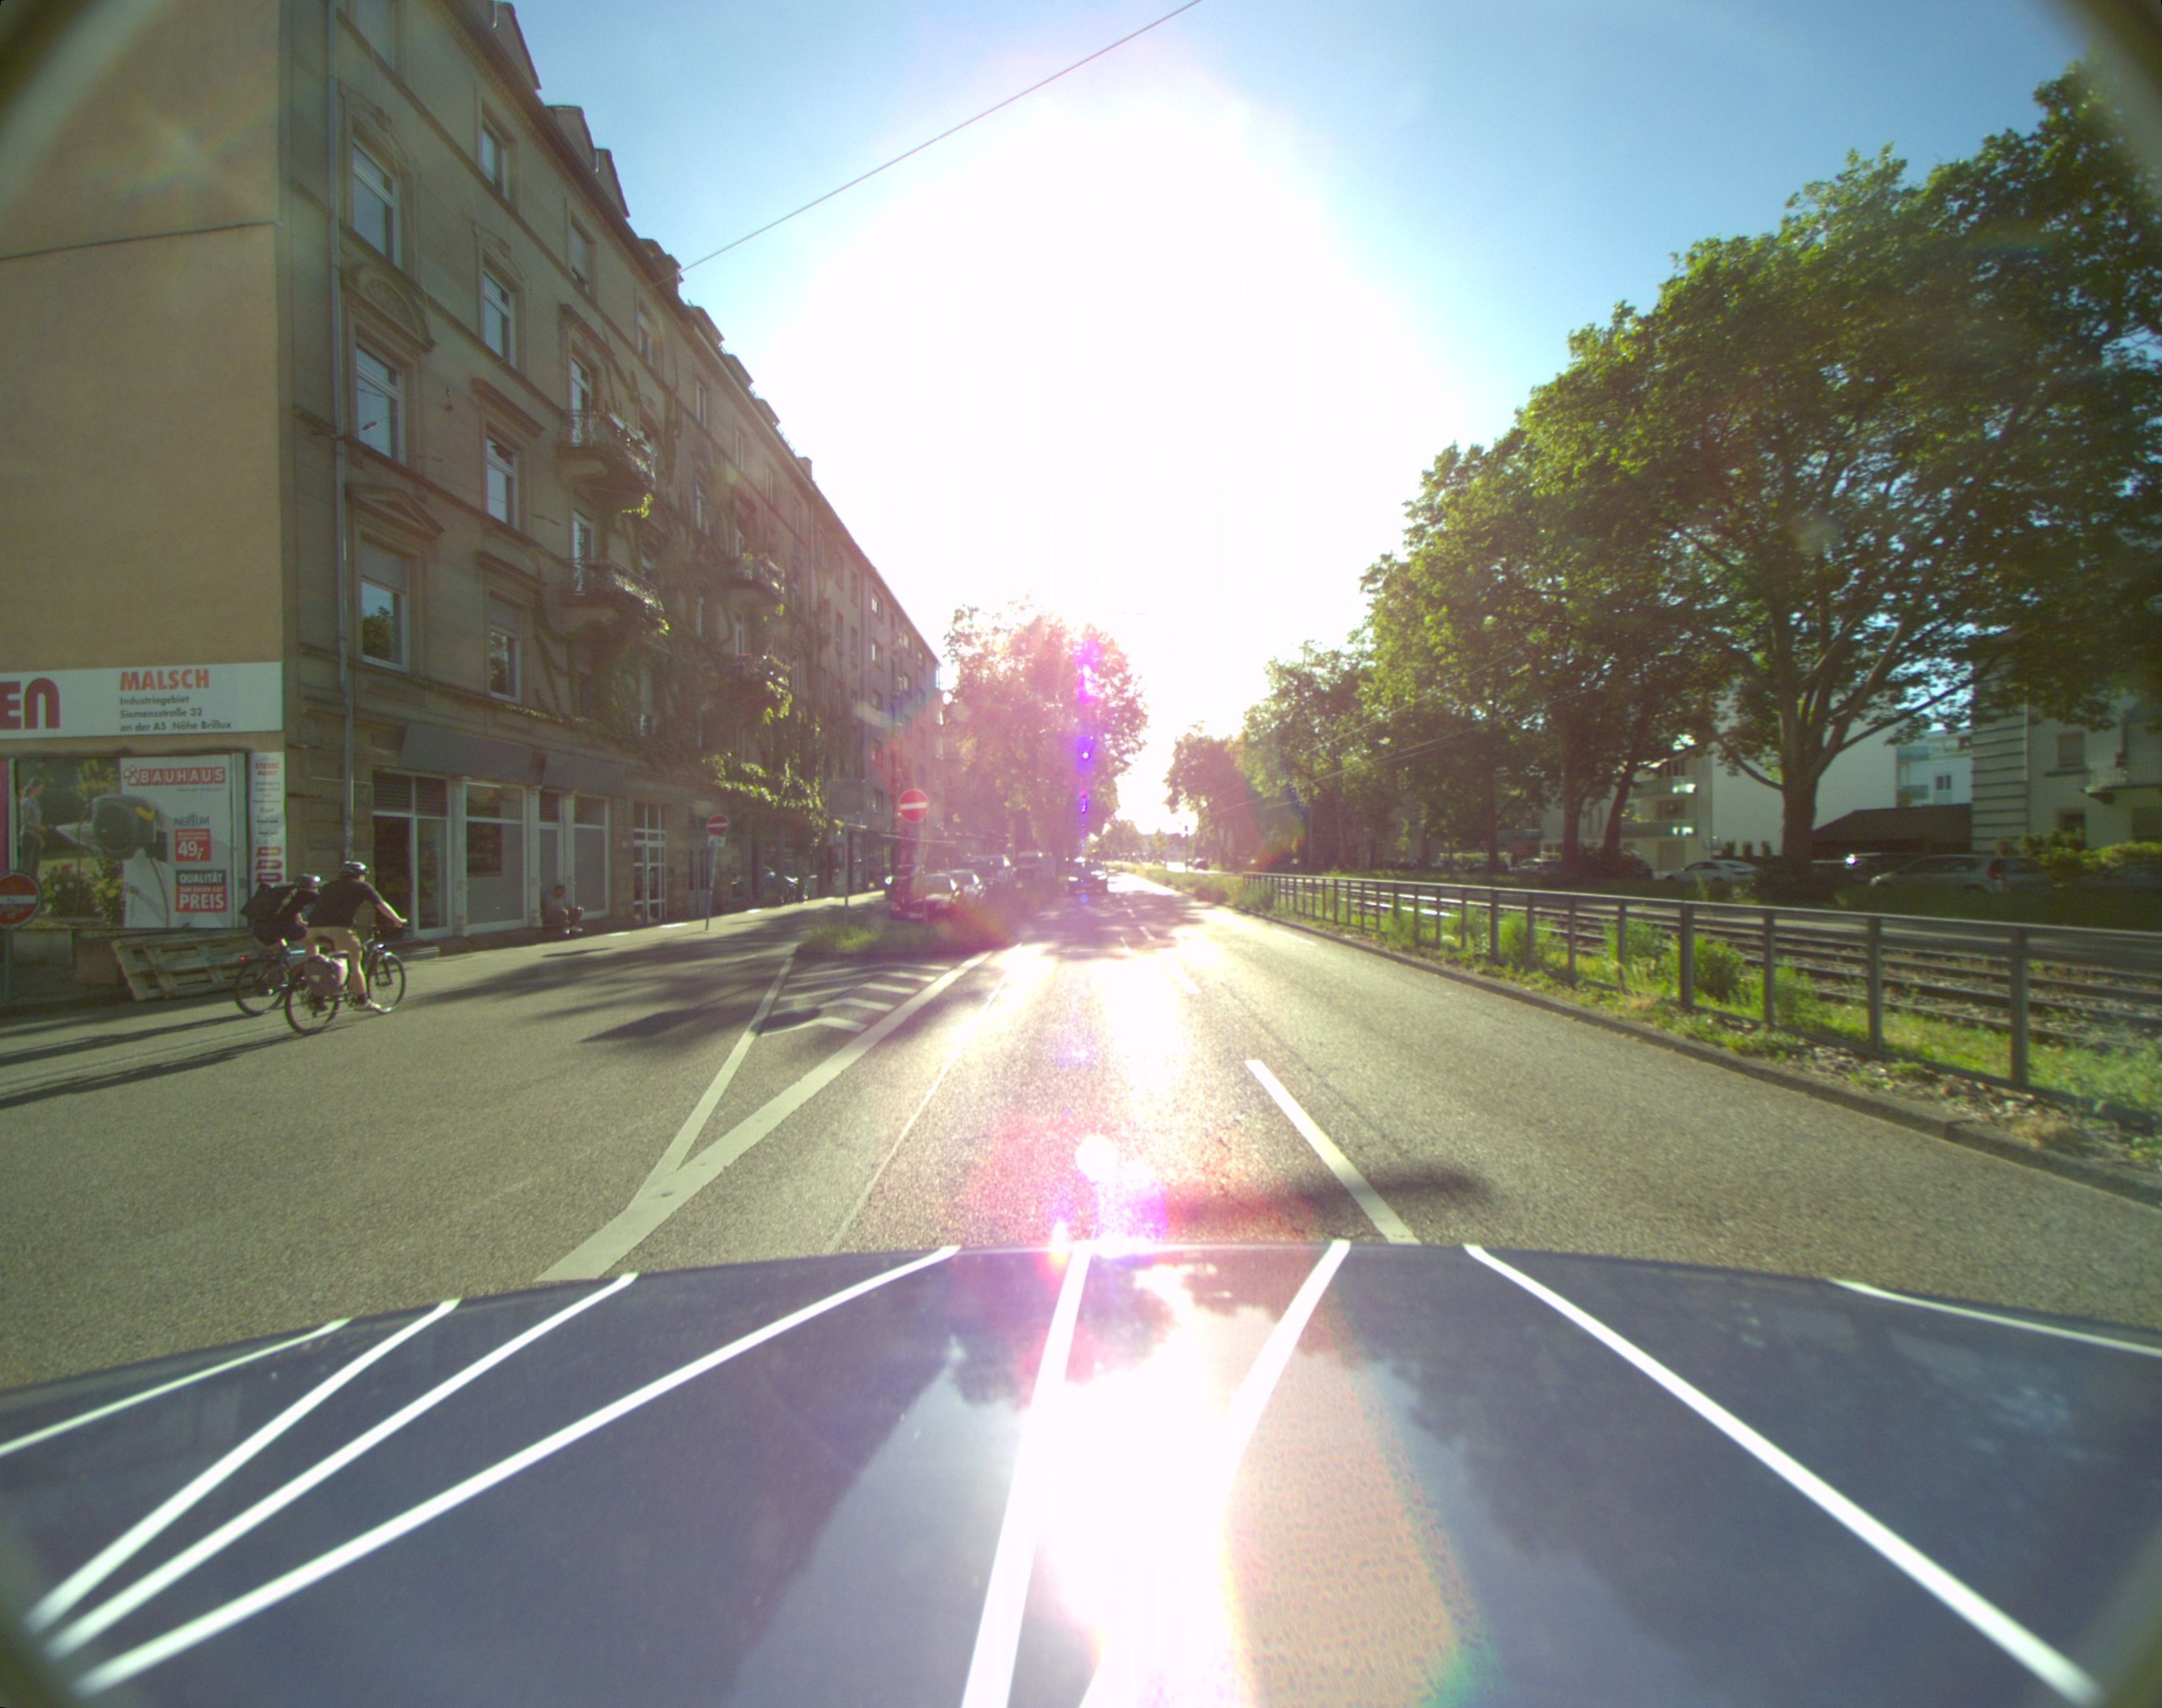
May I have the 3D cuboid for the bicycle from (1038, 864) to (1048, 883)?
[{"bbox_3d":[-2.579,1.297,51.360,0.466,1.206,1.751,0,0,5],"label":"bicycle"}]

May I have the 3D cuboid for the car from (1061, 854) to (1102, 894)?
[{"bbox_3d":[0.082,0.942,38.207,1.876,1.788,4.633,-3,0,1],"label":"car"}]

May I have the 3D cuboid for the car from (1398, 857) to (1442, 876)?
[{"bbox_3d":[28.755,1.030,64.532,1.998,1.477,4.000,-1,0,1],"label":"car"}]

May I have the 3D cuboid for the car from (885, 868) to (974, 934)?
[{"bbox_3d":[-4.093,1.219,21.094,1.645,1.508,3.999,-3,0,-1],"label":"car"}]

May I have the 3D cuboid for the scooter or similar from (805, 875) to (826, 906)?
[{"bbox_3d":[-10.758,1.477,30.754,0.638,1.166,1.731,-1,0,-24],"label":"scooter or similar"}]

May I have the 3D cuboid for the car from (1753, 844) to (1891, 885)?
[{"bbox_3d":[28.478,0.374,29.357,1.779,1.456,3.697,-1,0,1],"label":"car"}]

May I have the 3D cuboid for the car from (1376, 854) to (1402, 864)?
[{"bbox_3d":[28.223,0.461,69.671,1.109,0.871,3.060,-1,0,1],"label":"car"}]

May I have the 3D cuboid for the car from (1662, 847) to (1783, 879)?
[{"bbox_3d":[28.456,0.385,33.911,1.644,1.316,4.461,1,0,1],"label":"car"}]

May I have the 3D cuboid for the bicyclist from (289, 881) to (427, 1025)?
[{"bbox_3d":[-8.057,1.058,8.523,0.747,1.453,0.950,-2,1,-20],"label":"bicyclist"}]

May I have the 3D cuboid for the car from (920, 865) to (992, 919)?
[{"bbox_3d":[-4.112,1.204,25.544,1.743,1.508,3.999,-3,0,-1],"label":"car"}]

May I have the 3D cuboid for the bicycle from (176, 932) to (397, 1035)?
[{"bbox_3d":[-9.602,1.520,9.311,0.651,0.914,1.918,2,0,1],"label":"bicycle"}]

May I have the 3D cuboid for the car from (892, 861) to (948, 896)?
[{"bbox_3d":[-7.585,1.115,36.181,1.702,1.519,4.380,-2,0,0],"label":"car"}]

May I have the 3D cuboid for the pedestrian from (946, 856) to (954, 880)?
[{"bbox_3d":[-9.996,1.091,58.119,0.470,1.822,0.516,-1,0,1],"label":"pedestrian"}]

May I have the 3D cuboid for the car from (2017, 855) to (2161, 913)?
[{"bbox_3d":[28.228,0.754,20.098,1.788,1.432,4.320,-1,0,4],"label":"car"}]

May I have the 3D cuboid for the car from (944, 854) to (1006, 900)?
[{"bbox_3d":[-4.203,0.875,30.772,1.869,1.753,4.000,-1,0,1],"label":"car"}]

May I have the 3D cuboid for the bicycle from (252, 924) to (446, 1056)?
[{"bbox_3d":[-8.030,1.427,8.473,0.759,1.095,1.950,-1,0,-18],"label":"bicycle"}]

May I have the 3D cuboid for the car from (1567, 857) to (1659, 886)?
[{"bbox_3d":[28.405,0.897,40.772,1.998,1.444,4.319,-1,0,1],"label":"car"}]

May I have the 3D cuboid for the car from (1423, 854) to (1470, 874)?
[{"bbox_3d":[28.631,0.761,59.628,1.801,1.464,4.000,-1,0,1],"label":"car"}]

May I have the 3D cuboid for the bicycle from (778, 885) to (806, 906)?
[{"bbox_3d":[-11.088,1.581,29.221,0.469,0.701,1.513,-1,0,1],"label":"bicycle"}]

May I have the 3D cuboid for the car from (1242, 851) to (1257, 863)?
[{"bbox_3d":[28.466,0.563,128.660,1.998,2.002,4.002,-1,0,5],"label":"car"}]

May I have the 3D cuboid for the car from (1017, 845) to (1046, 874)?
[{"bbox_3d":[-4.419,0.482,69.264,2.079,2.420,5.856,-1,0,1],"label":"car"}]

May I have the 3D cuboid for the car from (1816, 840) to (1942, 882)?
[{"bbox_3d":[37.125,0.325,35.500,1.853,1.849,3.821,-1,0,0],"label":"car"}]

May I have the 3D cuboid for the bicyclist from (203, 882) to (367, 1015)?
[{"bbox_3d":[-9.607,1.099,9.226,0.678,1.437,1.182,3,0,1],"label":"bicyclist"}]

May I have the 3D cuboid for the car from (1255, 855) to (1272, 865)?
[{"bbox_3d":[28.372,0.869,118.403,1.771,1.477,3.688,-1,0,1],"label":"car"}]

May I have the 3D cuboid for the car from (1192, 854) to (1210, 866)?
[{"bbox_3d":[17.491,0.855,110.855,1.862,1.637,4.460,-1,0,-1],"label":"car"}]

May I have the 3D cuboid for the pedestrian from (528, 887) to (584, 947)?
[{"bbox_3d":[-11.541,1.380,16.724,0.717,1.253,0.713,-1,1,1],"label":"pedestrian"}]

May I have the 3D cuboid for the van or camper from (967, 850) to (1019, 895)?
[{"bbox_3d":[-4.097,0.834,36.268,1.888,2.002,5.094,-1,0,0],"label":"van or camper"}]

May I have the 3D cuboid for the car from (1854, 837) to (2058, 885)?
[{"bbox_3d":[28.280,0.208,24.803,1.739,1.432,4.319,-1,0,1],"label":"car"}]
